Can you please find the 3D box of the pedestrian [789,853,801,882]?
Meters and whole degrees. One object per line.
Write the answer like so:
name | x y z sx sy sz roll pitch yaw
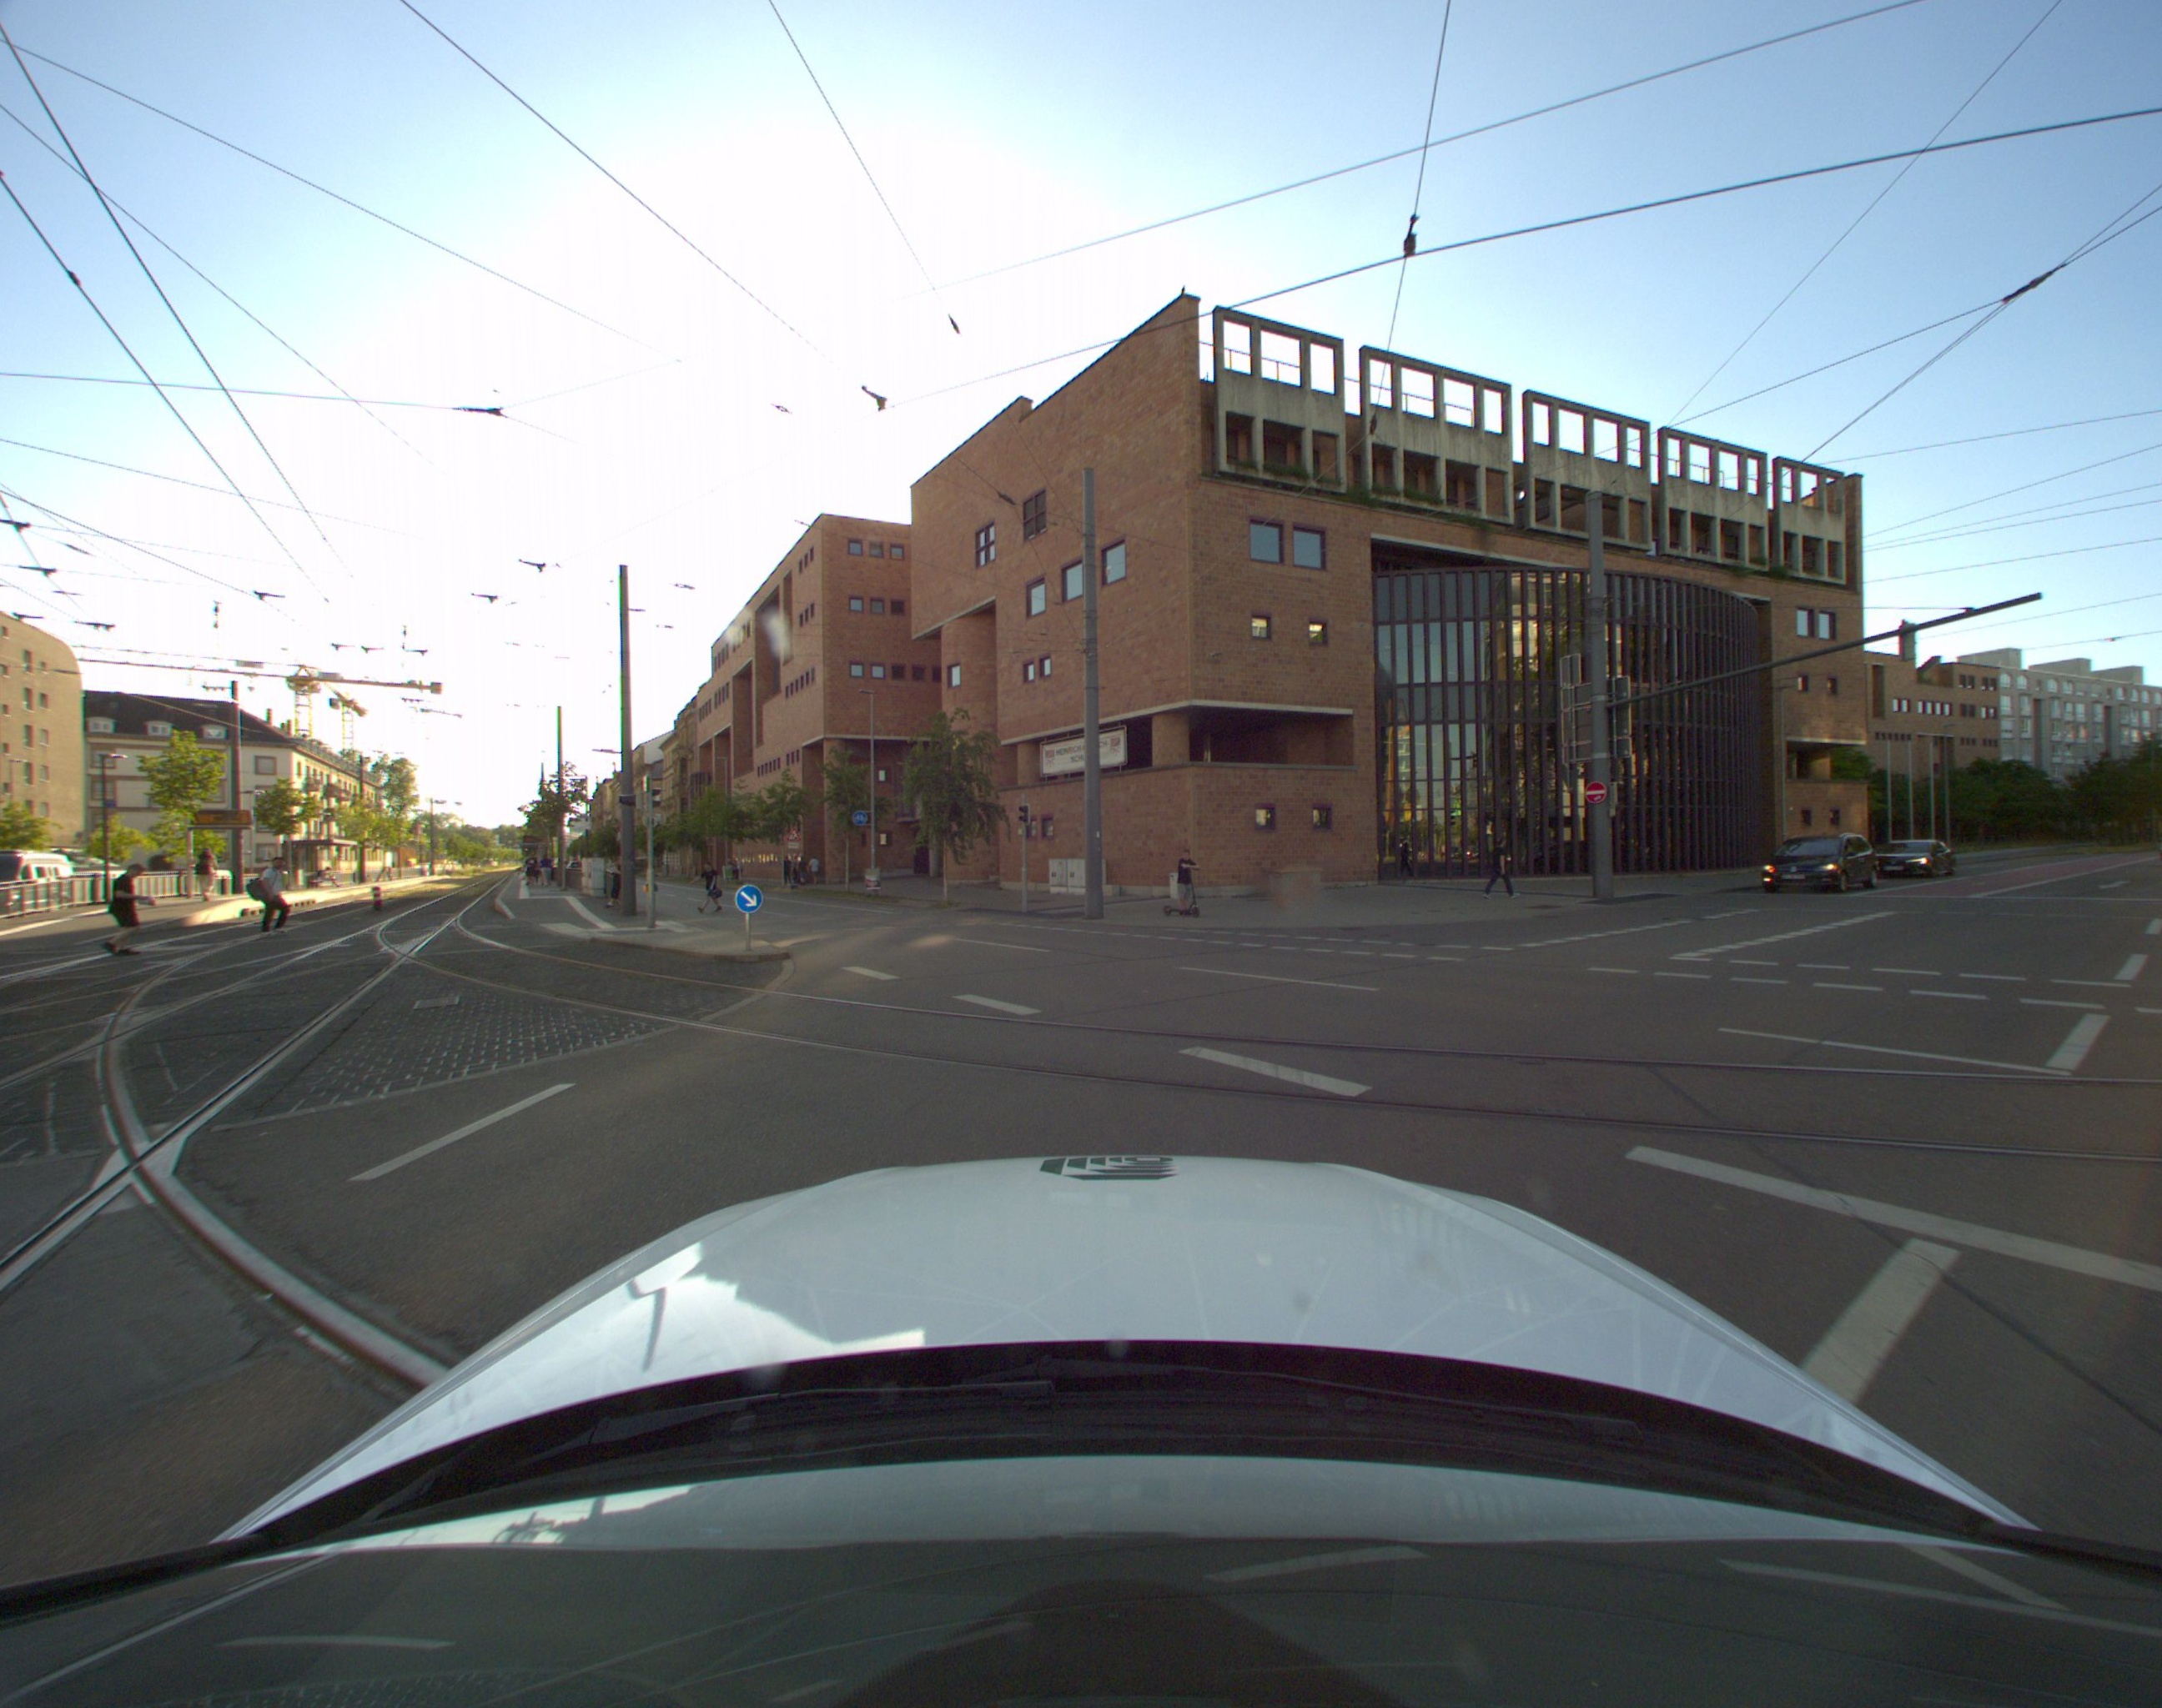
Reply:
pedestrian | -17.601 0.834 50.109 0.540 1.756 0.417 -1 0 -34

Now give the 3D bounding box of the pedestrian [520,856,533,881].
pedestrian | -39.539 1.046 58.111 0.725 1.732 0.644 -1 0 -35

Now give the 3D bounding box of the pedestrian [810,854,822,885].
pedestrian | -15.681 0.913 48.188 0.539 1.756 0.690 -1 0 -25

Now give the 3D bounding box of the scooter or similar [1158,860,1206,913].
scooter or similar | 2.602 0.818 20.997 0.532 1.318 1.119 -1 0 -43

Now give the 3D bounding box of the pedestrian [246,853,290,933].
pedestrian | -18.104 0.852 18.138 0.768 1.717 0.645 -2 0 42

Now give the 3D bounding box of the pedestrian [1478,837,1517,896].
pedestrian | 12.231 0.363 23.952 0.817 1.716 0.666 -1 0 8

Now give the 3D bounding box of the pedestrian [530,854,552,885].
pedestrian | -29.804 0.856 44.946 0.895 1.672 1.083 -1 0 -36

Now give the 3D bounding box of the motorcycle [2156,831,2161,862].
motorcycle | 44.144 -0.318 32.693 2.035 1.259 0.845 -1 1 -26

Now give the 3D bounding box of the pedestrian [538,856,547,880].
pedestrian | -38.978 1.023 58.934 0.508 1.732 0.644 -1 0 -35

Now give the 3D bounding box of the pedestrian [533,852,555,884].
pedestrian | -28.311 0.734 42.942 0.895 1.672 0.664 -1 0 -37

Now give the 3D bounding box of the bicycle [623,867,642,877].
bicycle | -52.391 2.086 95.108 1.841 1.064 0.656 -5 3 -40

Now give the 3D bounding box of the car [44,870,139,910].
car | -52.121 1.853 43.016 1.899 1.866 4.272 -1 1 -32

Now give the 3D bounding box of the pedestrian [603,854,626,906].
pedestrian | -14.184 0.789 24.772 0.491 1.538 0.547 -1 0 -20

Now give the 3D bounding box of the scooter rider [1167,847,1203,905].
scooter rider | 2.664 0.565 20.929 0.510 1.461 0.713 -1 0 -42

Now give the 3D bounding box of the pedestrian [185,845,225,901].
pedestrian | -26.895 0.574 25.009 0.681 1.683 0.570 -1 0 -30

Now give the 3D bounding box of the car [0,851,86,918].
car | -39.711 1.101 30.366 2.061 2.358 4.866 -1 0 -36

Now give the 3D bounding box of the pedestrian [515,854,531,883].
pedestrian | -29.292 0.763 42.737 0.687 1.483 0.820 -1 -1 -34

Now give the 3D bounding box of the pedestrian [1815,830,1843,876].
pedestrian | 33.607 -0.049 36.607 0.888 2.013 0.763 -1 0 41

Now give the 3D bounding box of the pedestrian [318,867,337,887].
pedestrian | -45.456 1.391 49.128 0.678 1.189 0.896 -1 0 -35

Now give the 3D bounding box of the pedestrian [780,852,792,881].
pedestrian | -17.819 0.741 49.180 0.540 1.756 0.459 -1 0 -36

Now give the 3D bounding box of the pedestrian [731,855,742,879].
pedestrian | -24.835 0.967 58.721 0.576 1.713 0.634 -1 0 -40

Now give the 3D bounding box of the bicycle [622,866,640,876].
bicycle | -53.832 2.067 97.428 1.841 1.064 0.656 -5 3 -40

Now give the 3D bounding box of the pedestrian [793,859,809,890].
pedestrian | -16.276 1.173 47.379 0.732 1.756 0.693 -1 0 -10

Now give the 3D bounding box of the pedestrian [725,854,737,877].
pedestrian | -24.888 0.829 57.887 0.520 1.605 0.696 -1 0 -42

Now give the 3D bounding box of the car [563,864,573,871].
car | -110.479 2.841 175.390 1.863 1.457 4.113 -1 1 -33

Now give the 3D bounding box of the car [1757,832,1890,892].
car | 22.527 0.209 24.675 4.517 1.654 1.820 -1 -1 -33

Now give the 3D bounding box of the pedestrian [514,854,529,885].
pedestrian | -31.052 0.868 45.187 0.662 1.672 0.664 -1 0 -36

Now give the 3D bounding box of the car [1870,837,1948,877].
car | 31.397 0.086 30.843 4.022 1.376 1.899 -1 0 -42

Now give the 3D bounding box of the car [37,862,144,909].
car | -44.105 1.350 36.385 1.900 1.866 4.270 -1 1 -35

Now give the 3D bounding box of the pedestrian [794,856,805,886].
pedestrian | -16.803 1.003 48.576 0.539 1.756 0.690 -1 0 -25

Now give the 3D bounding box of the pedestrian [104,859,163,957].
pedestrian | -17.130 0.949 14.725 0.740 1.702 0.628 -1 0 36

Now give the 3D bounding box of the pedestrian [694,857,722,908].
pedestrian | -11.625 0.875 25.373 0.717 1.538 0.844 -1 0 -27
